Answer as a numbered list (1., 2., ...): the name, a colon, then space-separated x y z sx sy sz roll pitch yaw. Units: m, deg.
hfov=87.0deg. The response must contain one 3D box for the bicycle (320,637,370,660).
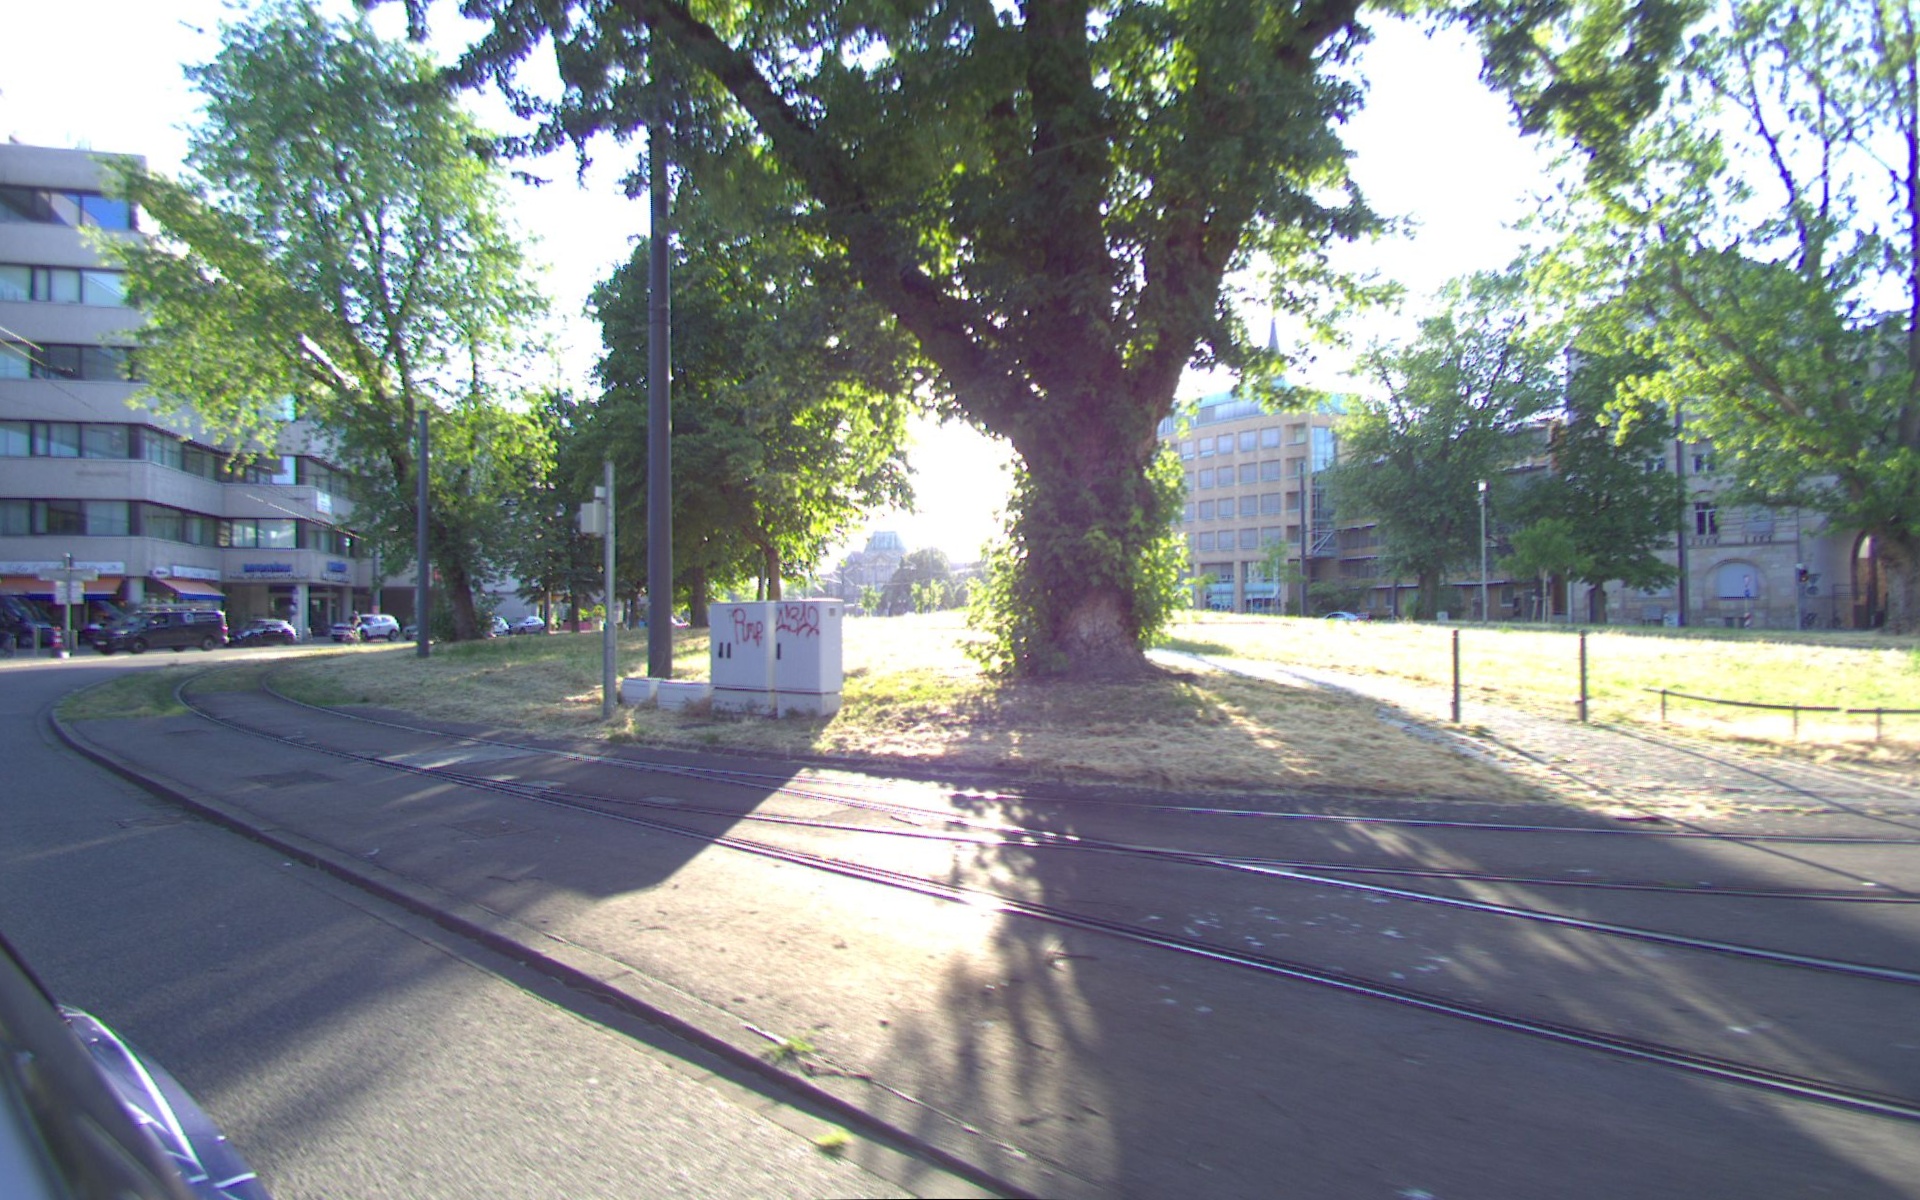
1. bicycle: -31.265 2.439 51.495 0.926 1.084 2.213 -1 -1 12

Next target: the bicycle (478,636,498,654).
1. bicycle: -31.272 2.976 67.053 0.859 1.105 1.855 -1 -1 -14

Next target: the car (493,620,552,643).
1. car: -34.252 2.455 79.308 1.979 1.617 4.506 -1 -1 12

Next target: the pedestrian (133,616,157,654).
1. pedestrian: -40.751 1.754 50.584 0.566 1.852 0.604 4 -2 -2

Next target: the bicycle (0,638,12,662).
1. bicycle: -40.257 2.114 42.618 1.292 1.000 0.299 -2 -1 37

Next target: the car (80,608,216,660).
1. car: -36.169 1.472 45.235 1.979 2.172 4.506 -1 -1 12

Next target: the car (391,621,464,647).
1. car: -35.972 2.298 68.478 1.979 1.617 4.506 -1 -1 12

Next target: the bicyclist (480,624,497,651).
1. bicyclist: -31.285 2.464 67.117 0.847 1.796 0.988 0 -1 -14

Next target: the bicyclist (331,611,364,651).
1. bicyclist: -31.261 1.563 51.628 0.915 1.989 1.109 -1 -1 12

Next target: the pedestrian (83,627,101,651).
1. pedestrian: -43.760 1.954 51.002 0.454 1.203 0.422 4 -2 -14

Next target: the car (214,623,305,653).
1. car: -38.048 2.046 55.049 1.776 1.453 3.986 -1 -1 11

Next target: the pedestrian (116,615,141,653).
1. pedestrian: -41.456 1.713 50.451 0.612 1.852 0.536 4 -2 -2

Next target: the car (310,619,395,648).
1. car: -37.313 2.052 62.297 1.979 1.617 4.506 -1 -1 12

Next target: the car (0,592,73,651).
1. car: -46.106 1.003 48.186 5.341 2.748 2.188 1 -1 -17

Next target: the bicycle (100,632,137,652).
1. bicycle: -42.474 2.115 51.079 1.424 1.000 0.532 2 -1 -41
